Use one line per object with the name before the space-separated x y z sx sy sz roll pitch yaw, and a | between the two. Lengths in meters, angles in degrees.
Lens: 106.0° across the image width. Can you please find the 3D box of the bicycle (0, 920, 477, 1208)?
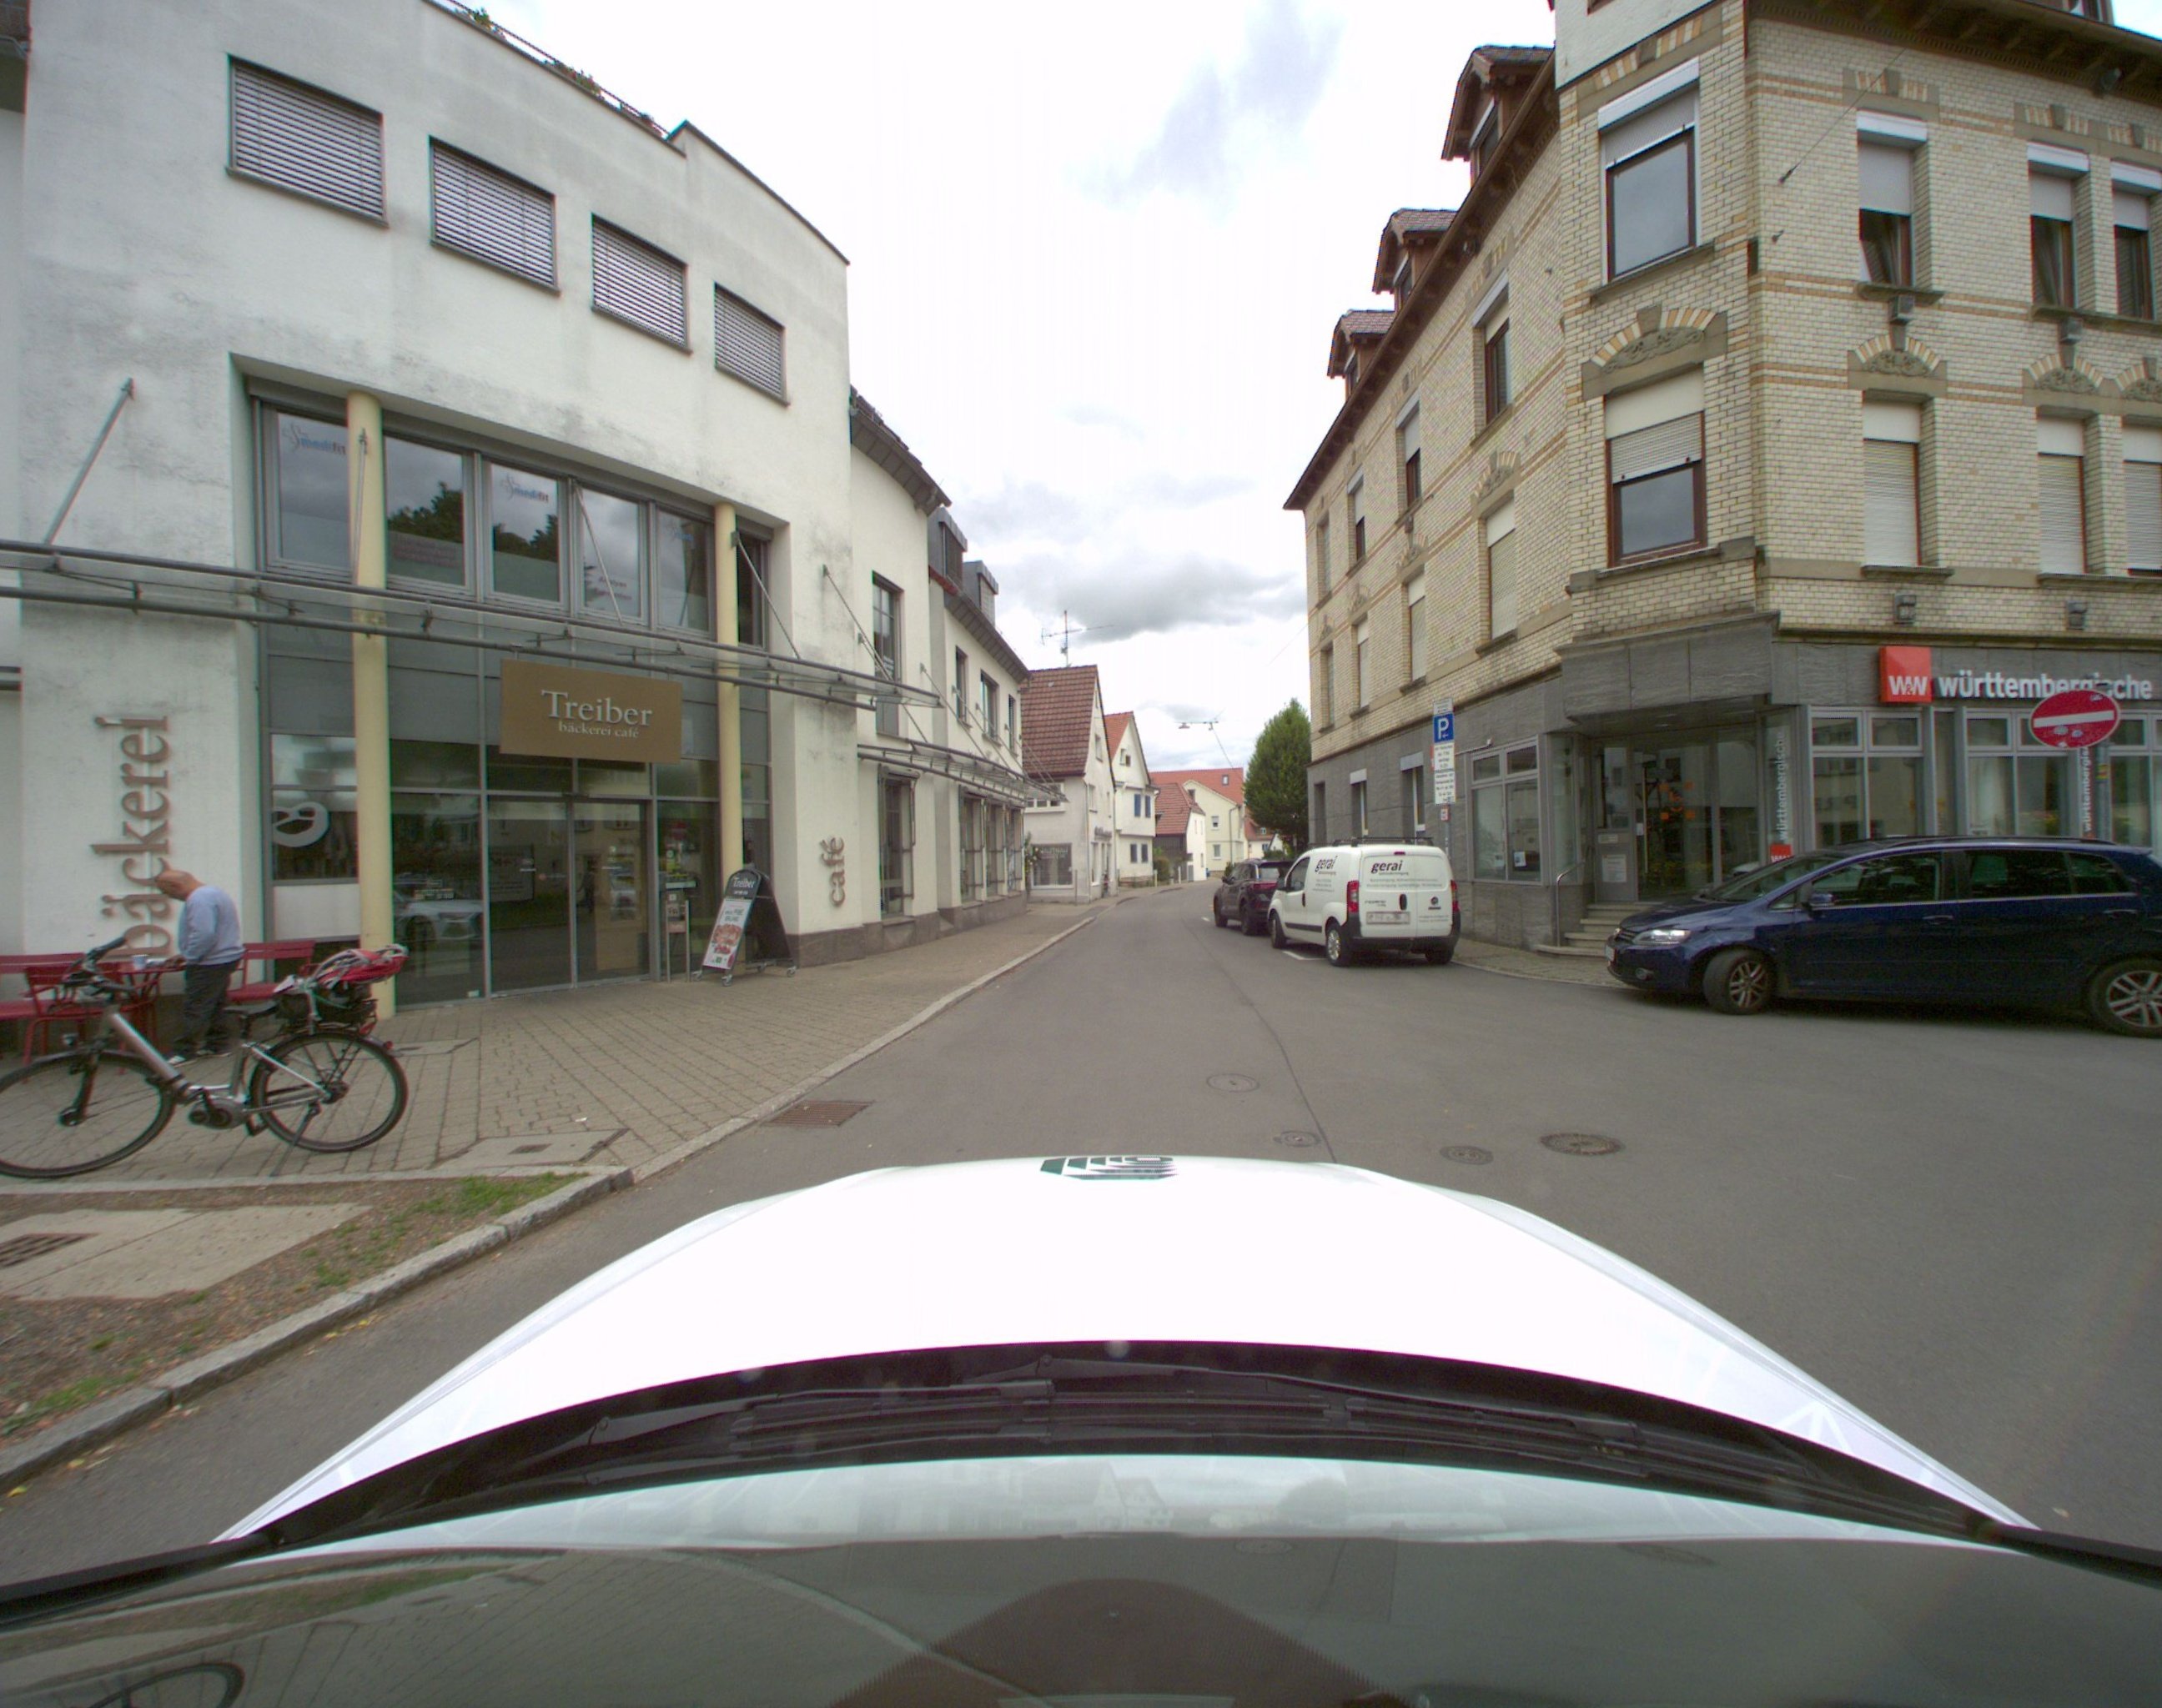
bicycle | -4.549 1.041 4.340 1.974 1.240 0.741 -1 1 -11

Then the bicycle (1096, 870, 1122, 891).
bicycle | 1.535 1.406 43.997 0.438 1.039 2.105 3 2 31

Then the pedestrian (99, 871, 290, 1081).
pedestrian | -7.131 0.924 6.612 0.703 1.525 0.861 -2 1 -22

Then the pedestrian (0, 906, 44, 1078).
pedestrian | -8.980 1.127 6.449 0.657 1.341 0.691 -2 1 -22

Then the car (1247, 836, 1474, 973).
car | 4.178 0.674 12.980 1.823 1.792 4.210 -1 0 -5

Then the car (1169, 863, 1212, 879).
car | 10.579 1.622 78.734 3.699 1.412 2.131 1 -2 21

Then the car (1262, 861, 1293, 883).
car | 15.576 1.402 64.415 1.977 1.615 4.901 0 -1 18

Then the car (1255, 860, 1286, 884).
car | 13.718 1.275 58.802 1.848 1.633 4.922 -2 -1 16

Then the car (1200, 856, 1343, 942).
car | 3.981 0.888 17.852 1.784 1.600 4.535 -1 -1 -4

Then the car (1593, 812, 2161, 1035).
car | 7.322 0.570 7.677 3.973 1.704 1.873 -1 -1 24
